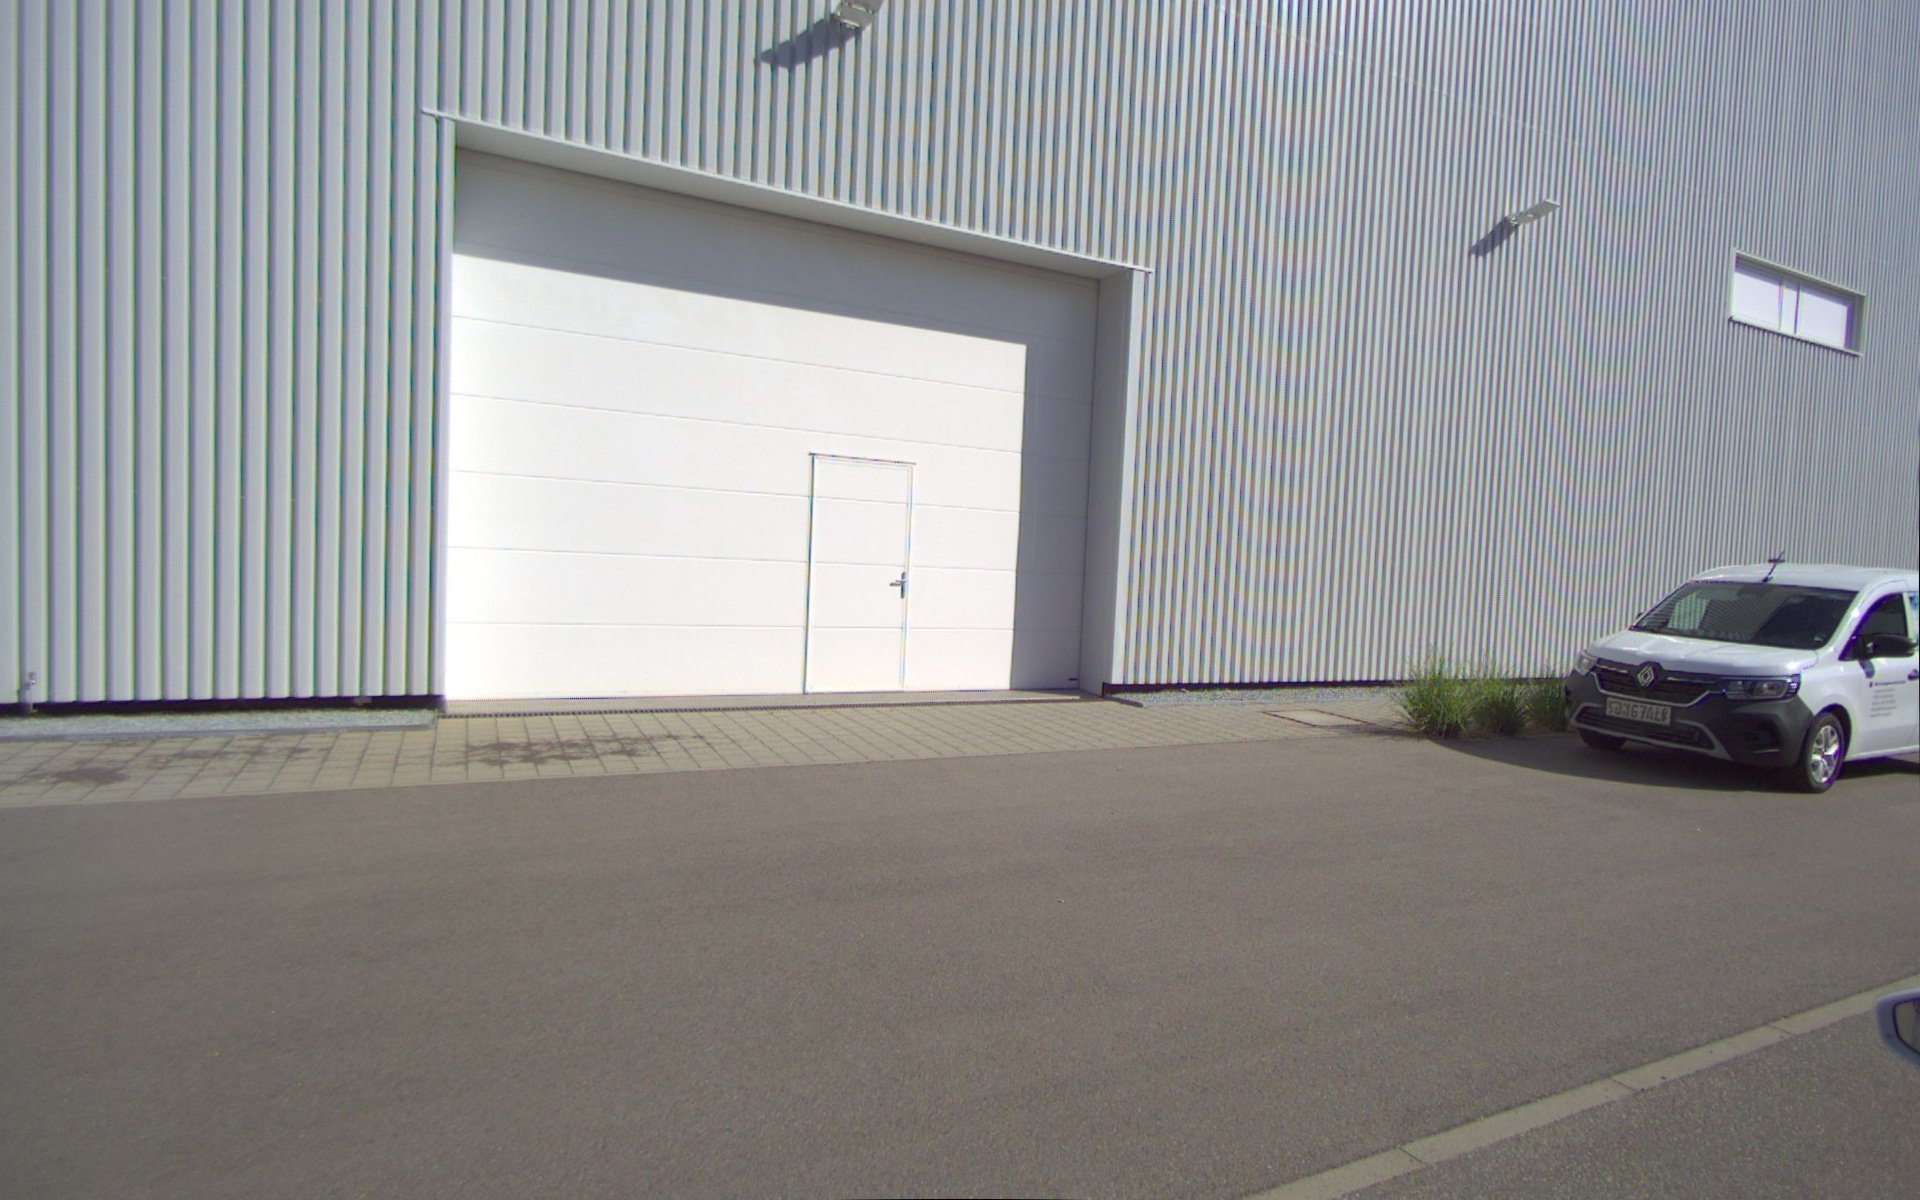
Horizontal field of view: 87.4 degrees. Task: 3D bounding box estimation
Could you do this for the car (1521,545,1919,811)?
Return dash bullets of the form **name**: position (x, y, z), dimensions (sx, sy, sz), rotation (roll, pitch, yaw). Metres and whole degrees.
- **car**: position (7.374, 0.574, 9.068), dimensions (4.303, 1.870, 1.882), rotation (1, 4, -28)
